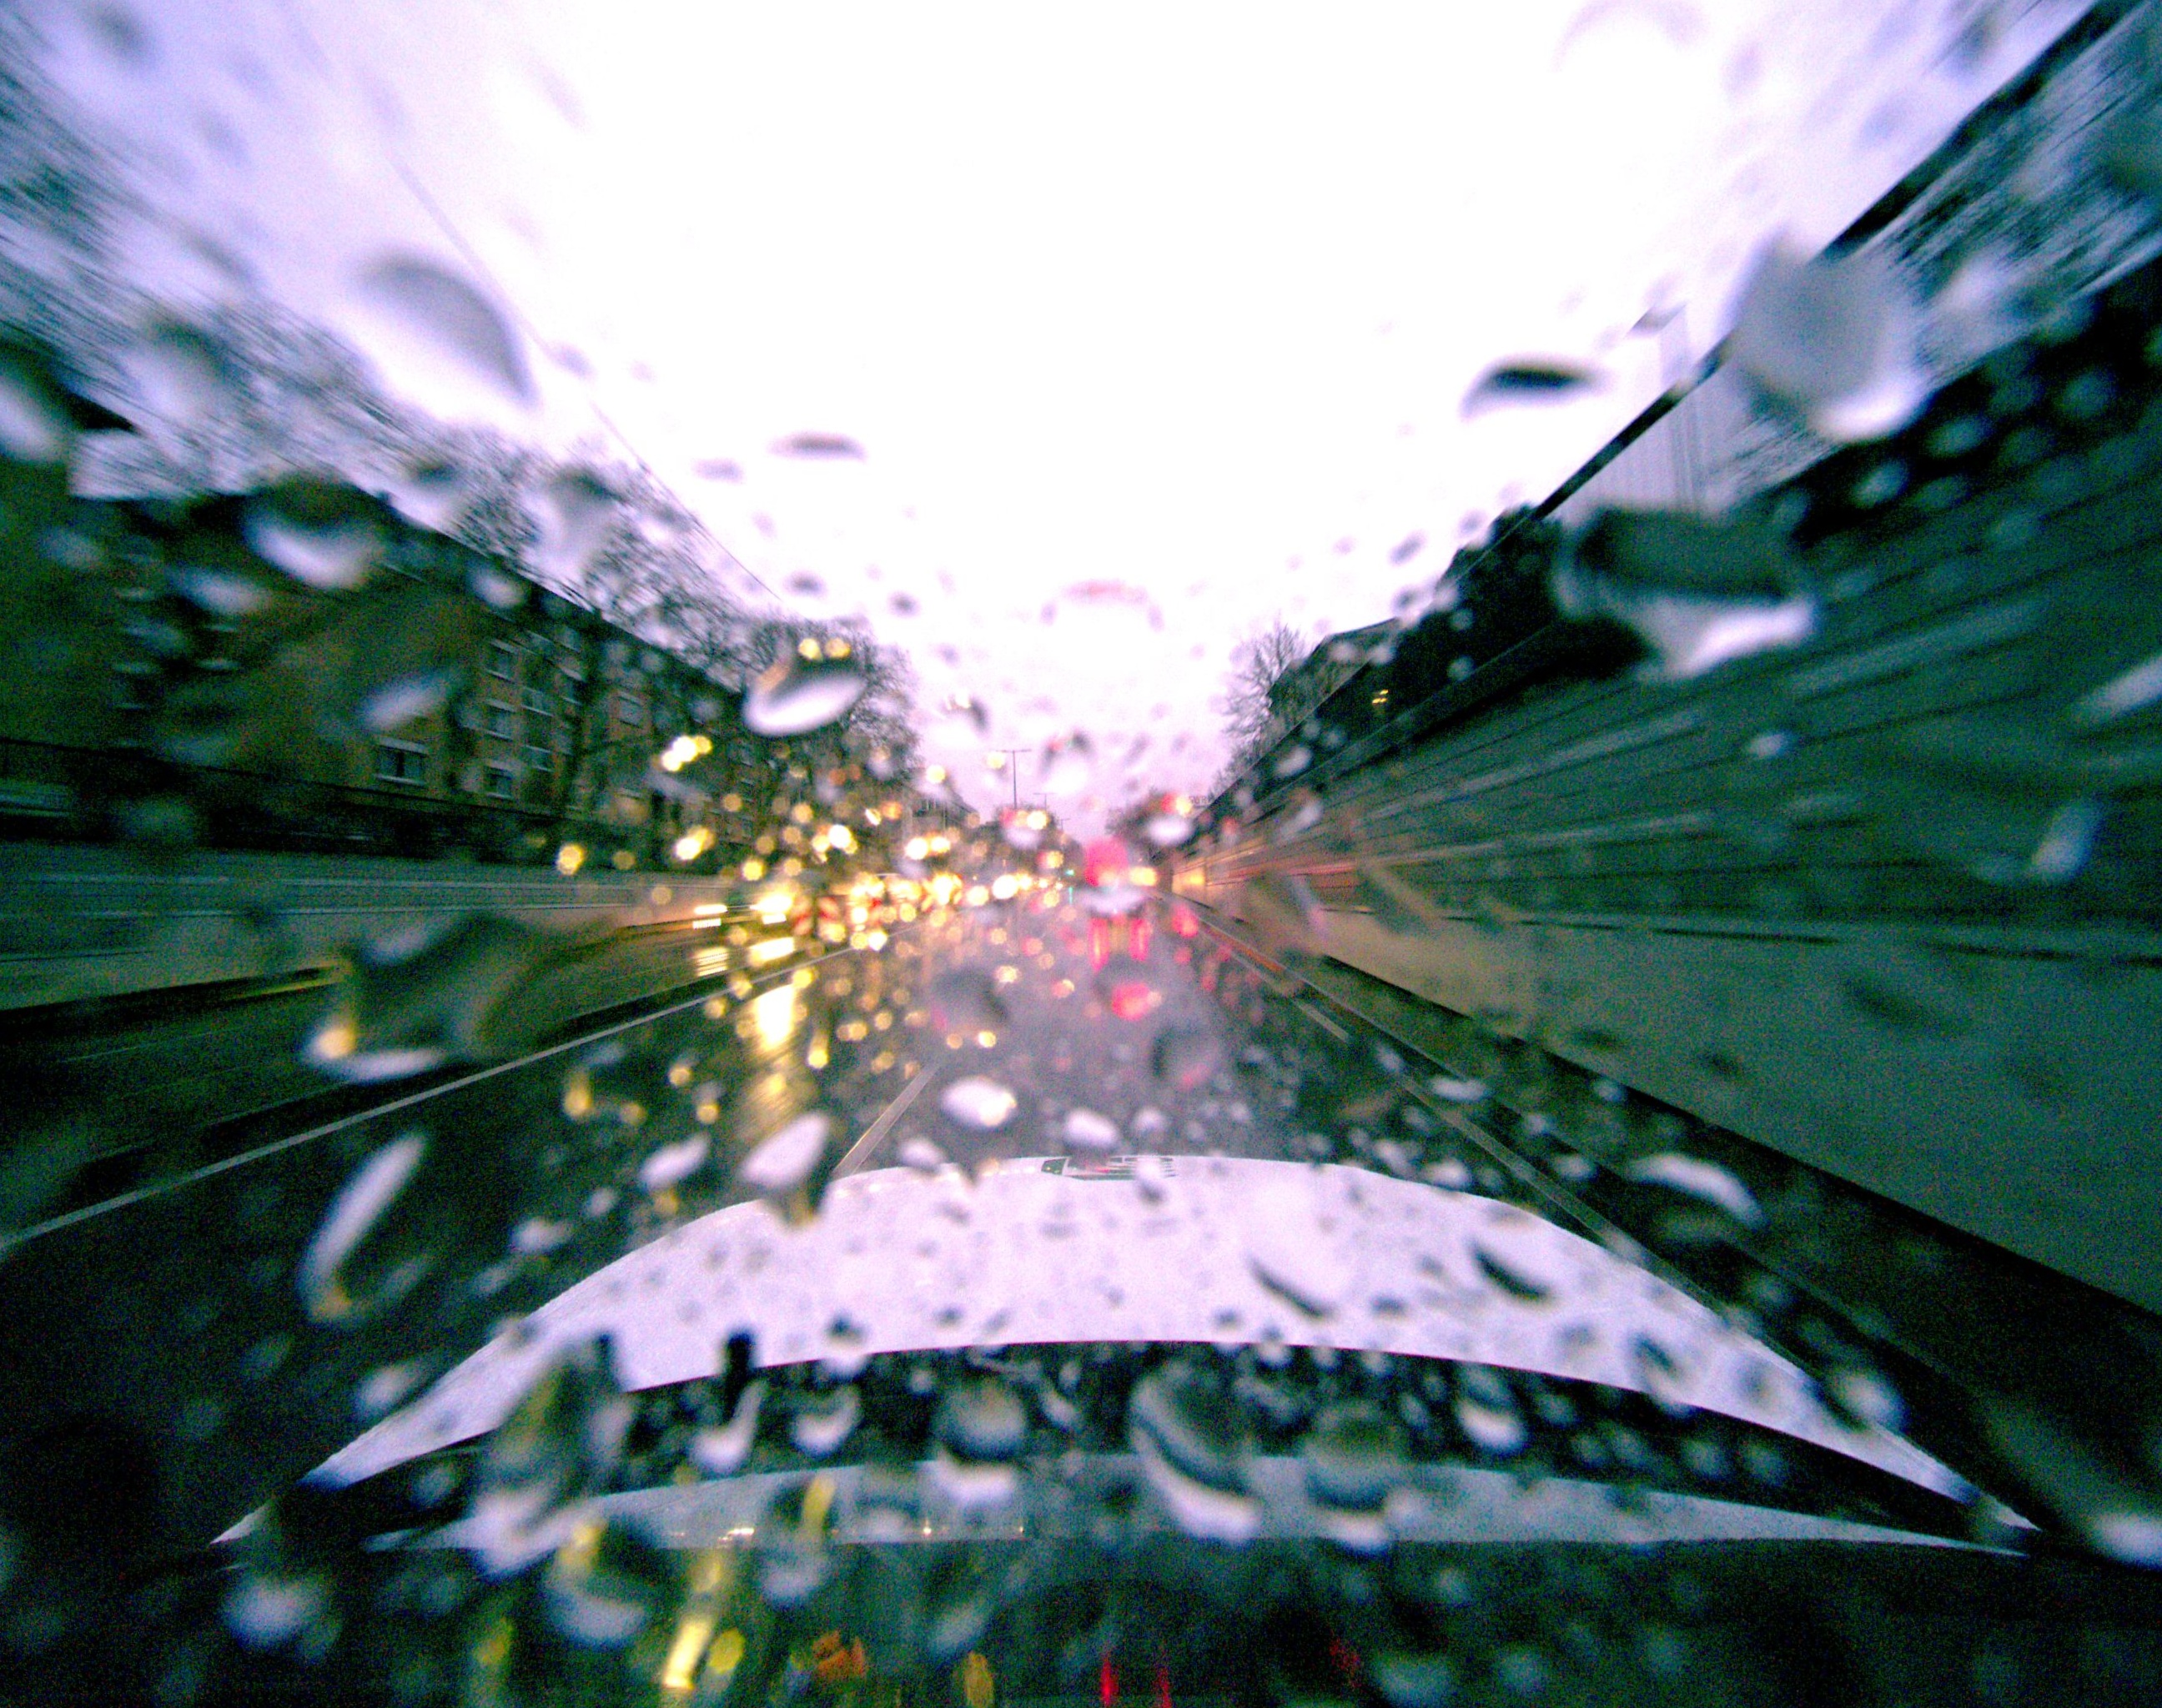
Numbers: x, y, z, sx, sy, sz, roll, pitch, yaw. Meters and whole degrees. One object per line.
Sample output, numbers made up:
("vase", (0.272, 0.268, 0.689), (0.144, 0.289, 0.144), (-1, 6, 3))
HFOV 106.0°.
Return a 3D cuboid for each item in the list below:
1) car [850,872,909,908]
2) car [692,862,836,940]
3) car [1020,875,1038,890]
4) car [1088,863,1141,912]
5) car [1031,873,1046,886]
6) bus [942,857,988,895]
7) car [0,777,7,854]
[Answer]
("car", (-9.494, 1.668, 38.718), (1.668, 1.491, 3.875), (-4, 0, 2))
("car", (-7.513, 1.048, 19.738), (1.778, 1.592, 3.843), (-4, 0, 2))
("car", (-5.531, 2.982, 86.618), (1.491, 1.383, 3.435), (-4, 0, 2))
("car", (1.060, 1.074, 26.067), (1.526, 1.397, 3.434), (-1, -3, 2))
("car", (-5.076, 2.997, 97.985), (1.491, 1.383, 3.434), (-4, 0, 0))
("bus", (-6.690, 1.237, 47.577), (1.668, 1.965, 5.176), (-5, -1, 2))
("car", (-21.589, -0.768, 13.932), (1.560, 1.473, 3.625), (-4, -3, 1))
